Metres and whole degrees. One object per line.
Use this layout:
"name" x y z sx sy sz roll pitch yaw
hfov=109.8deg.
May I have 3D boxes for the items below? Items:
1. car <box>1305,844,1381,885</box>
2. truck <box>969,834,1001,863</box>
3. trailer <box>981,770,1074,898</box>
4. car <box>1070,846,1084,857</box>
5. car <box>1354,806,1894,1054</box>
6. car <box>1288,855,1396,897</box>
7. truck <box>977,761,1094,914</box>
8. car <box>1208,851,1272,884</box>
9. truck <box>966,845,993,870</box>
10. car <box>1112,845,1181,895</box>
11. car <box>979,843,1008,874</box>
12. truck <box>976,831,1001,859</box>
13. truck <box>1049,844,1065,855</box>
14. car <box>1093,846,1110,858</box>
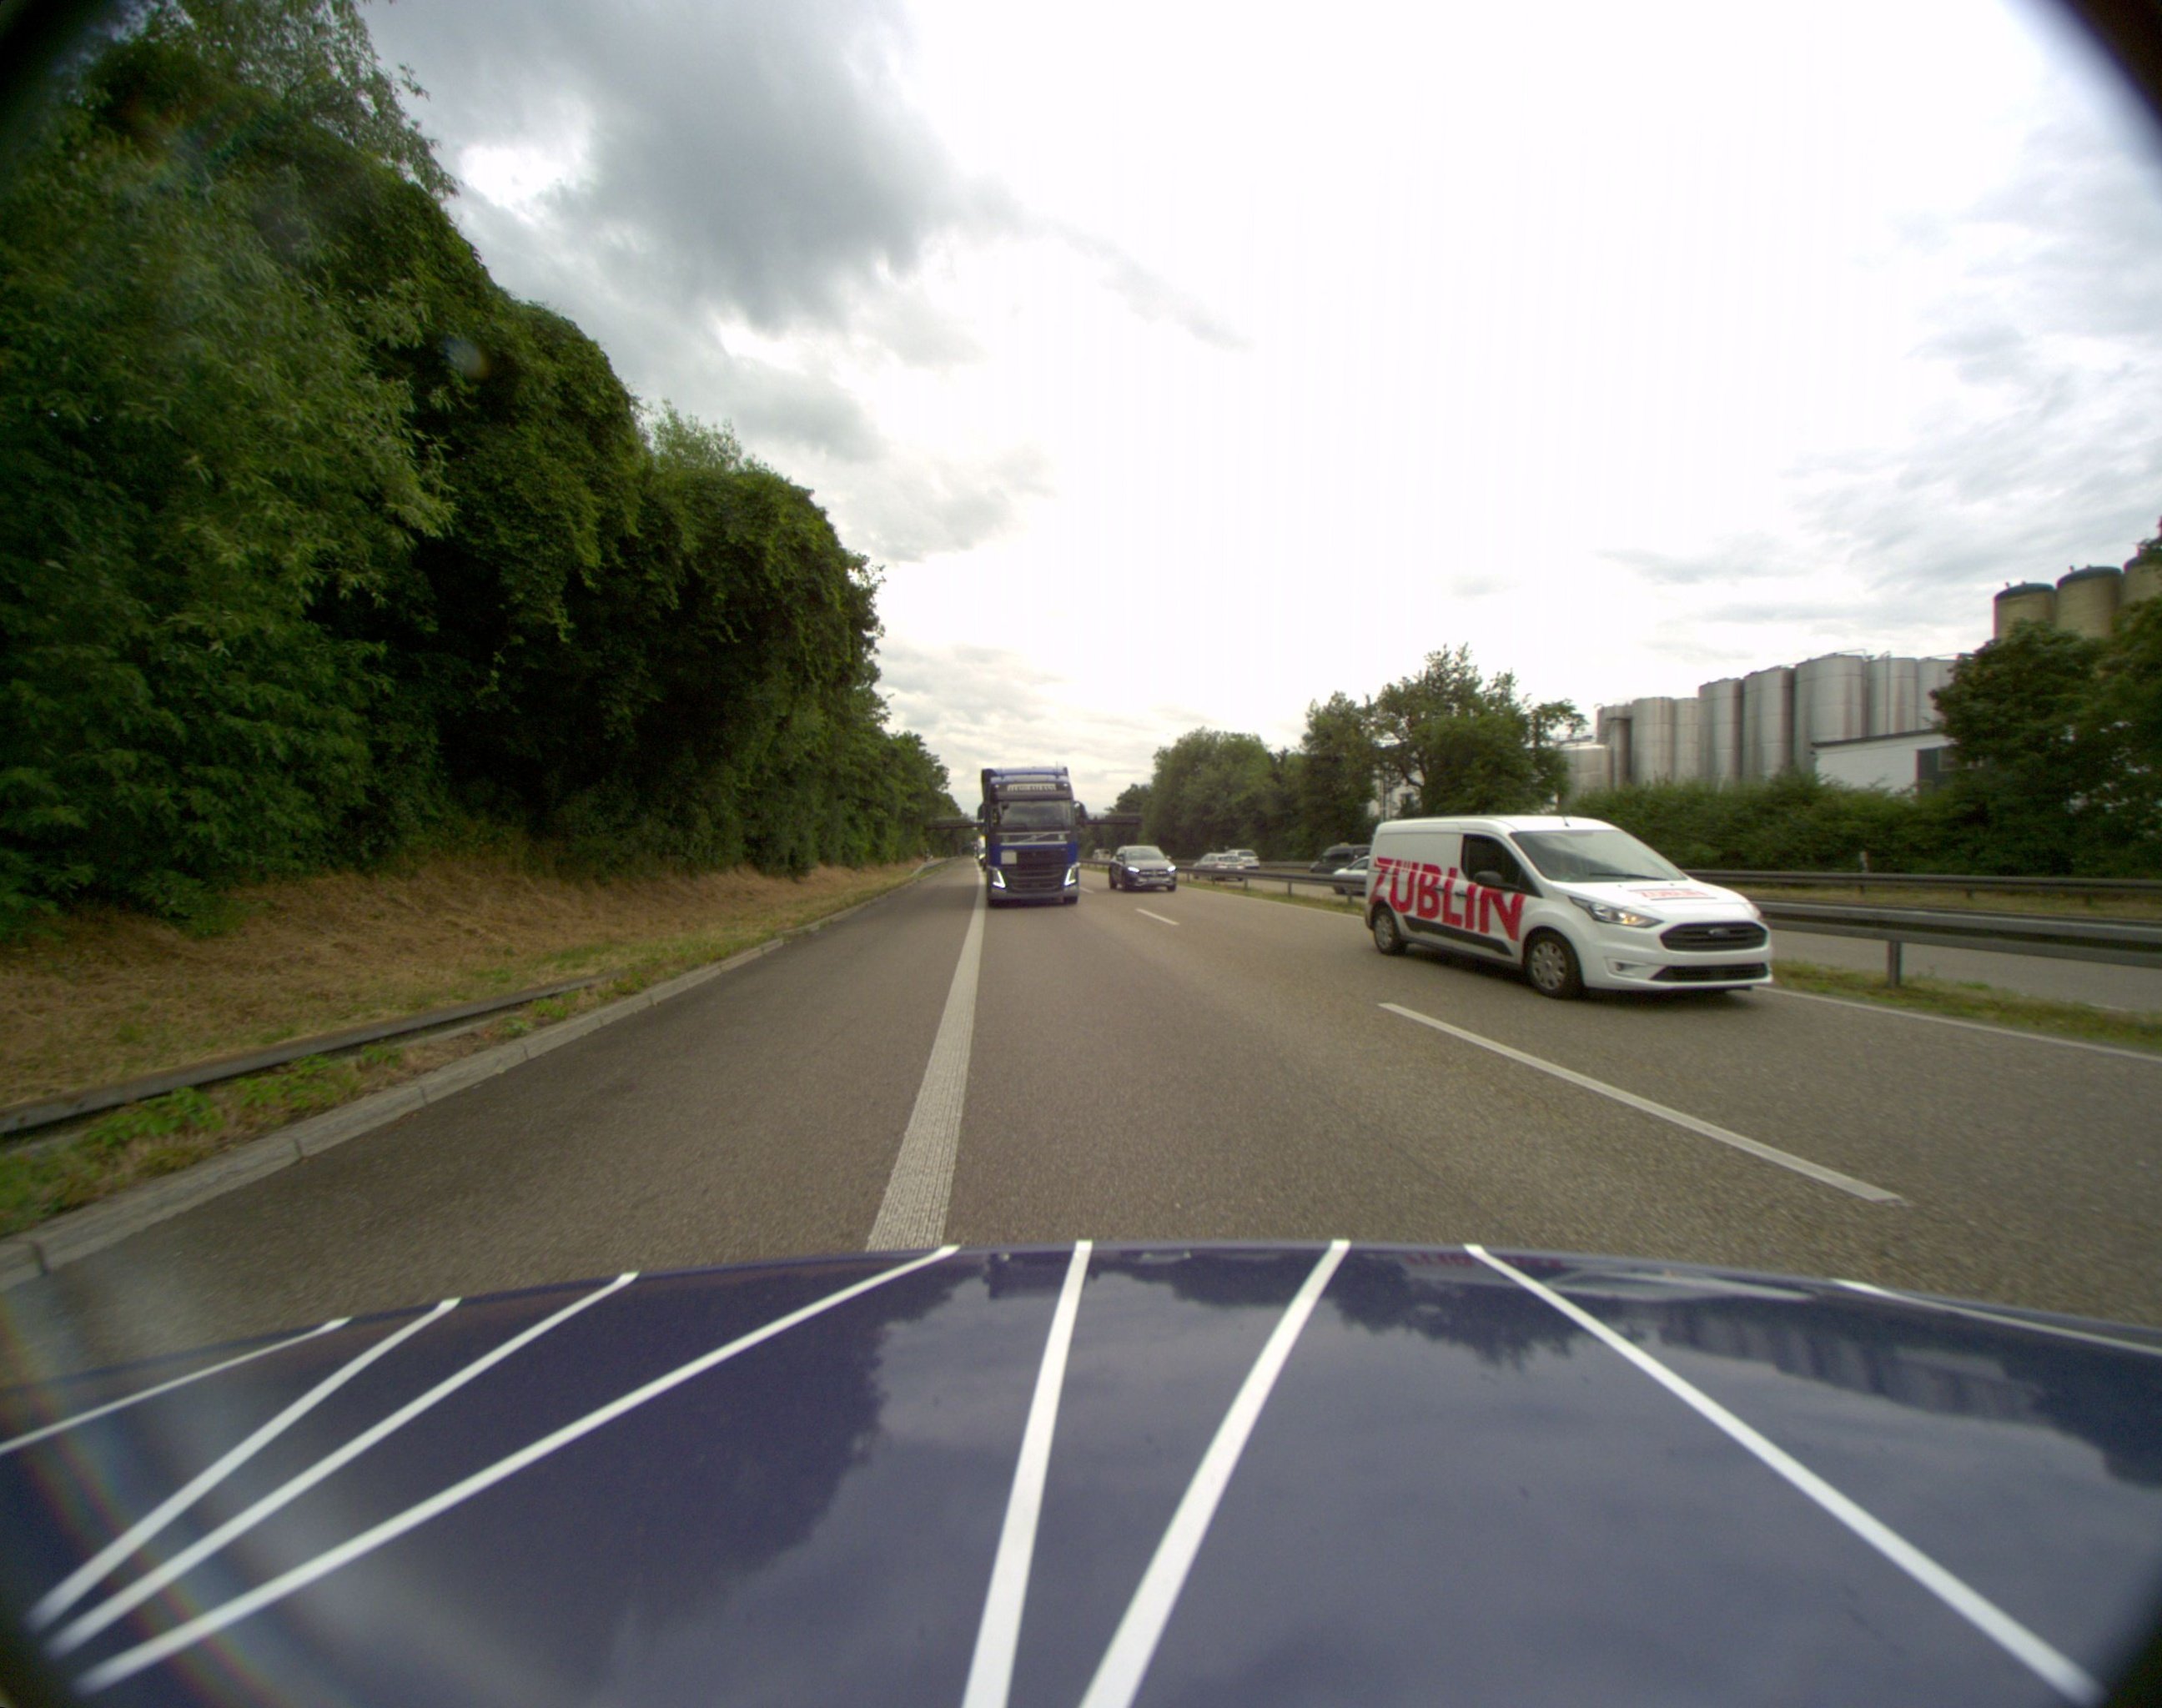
"car" 12.136 0.445 35.491 1.579 1.756 4.275 0 0 -9
"truck" -11.106 -0.669 87.359 3.368 3.099 7.233 -2 1 -9
"trailer" -2.442 -0.747 30.832 2.846 4.013 13.076 -2 1 -6
"car" -0.783 -0.453 140.387 2.000 2.002 3.997 0 1 -8
"car" 5.025 0.547 8.217 1.852 1.839 5.003 0 0 -7
"car" 9.796 0.762 28.982 1.688 1.440 4.659 0 0 -13
"truck" -1.573 -0.467 23.616 2.962 3.946 7.466 -2 1 -6
"car" 8.030 0.647 38.832 1.866 1.518 4.396 -1 1 -8
"truck" -8.394 0.246 63.369 1.895 2.002 6.088 0 0 -4
"car" 2.274 0.518 27.374 1.849 1.642 3.998 0 0 -5
"car" -5.918 0.281 50.909 1.752 2.002 3.996 -1 1 -9
"truck" -14.360 -1.427 117.217 3.368 4.041 10.175 -2 1 -8
"truck" -5.638 -1.122 178.593 2.698 2.566 9.201 0 1 -8
"car" 2.941 -0.253 107.562 1.699 1.608 3.996 0 0 -9
